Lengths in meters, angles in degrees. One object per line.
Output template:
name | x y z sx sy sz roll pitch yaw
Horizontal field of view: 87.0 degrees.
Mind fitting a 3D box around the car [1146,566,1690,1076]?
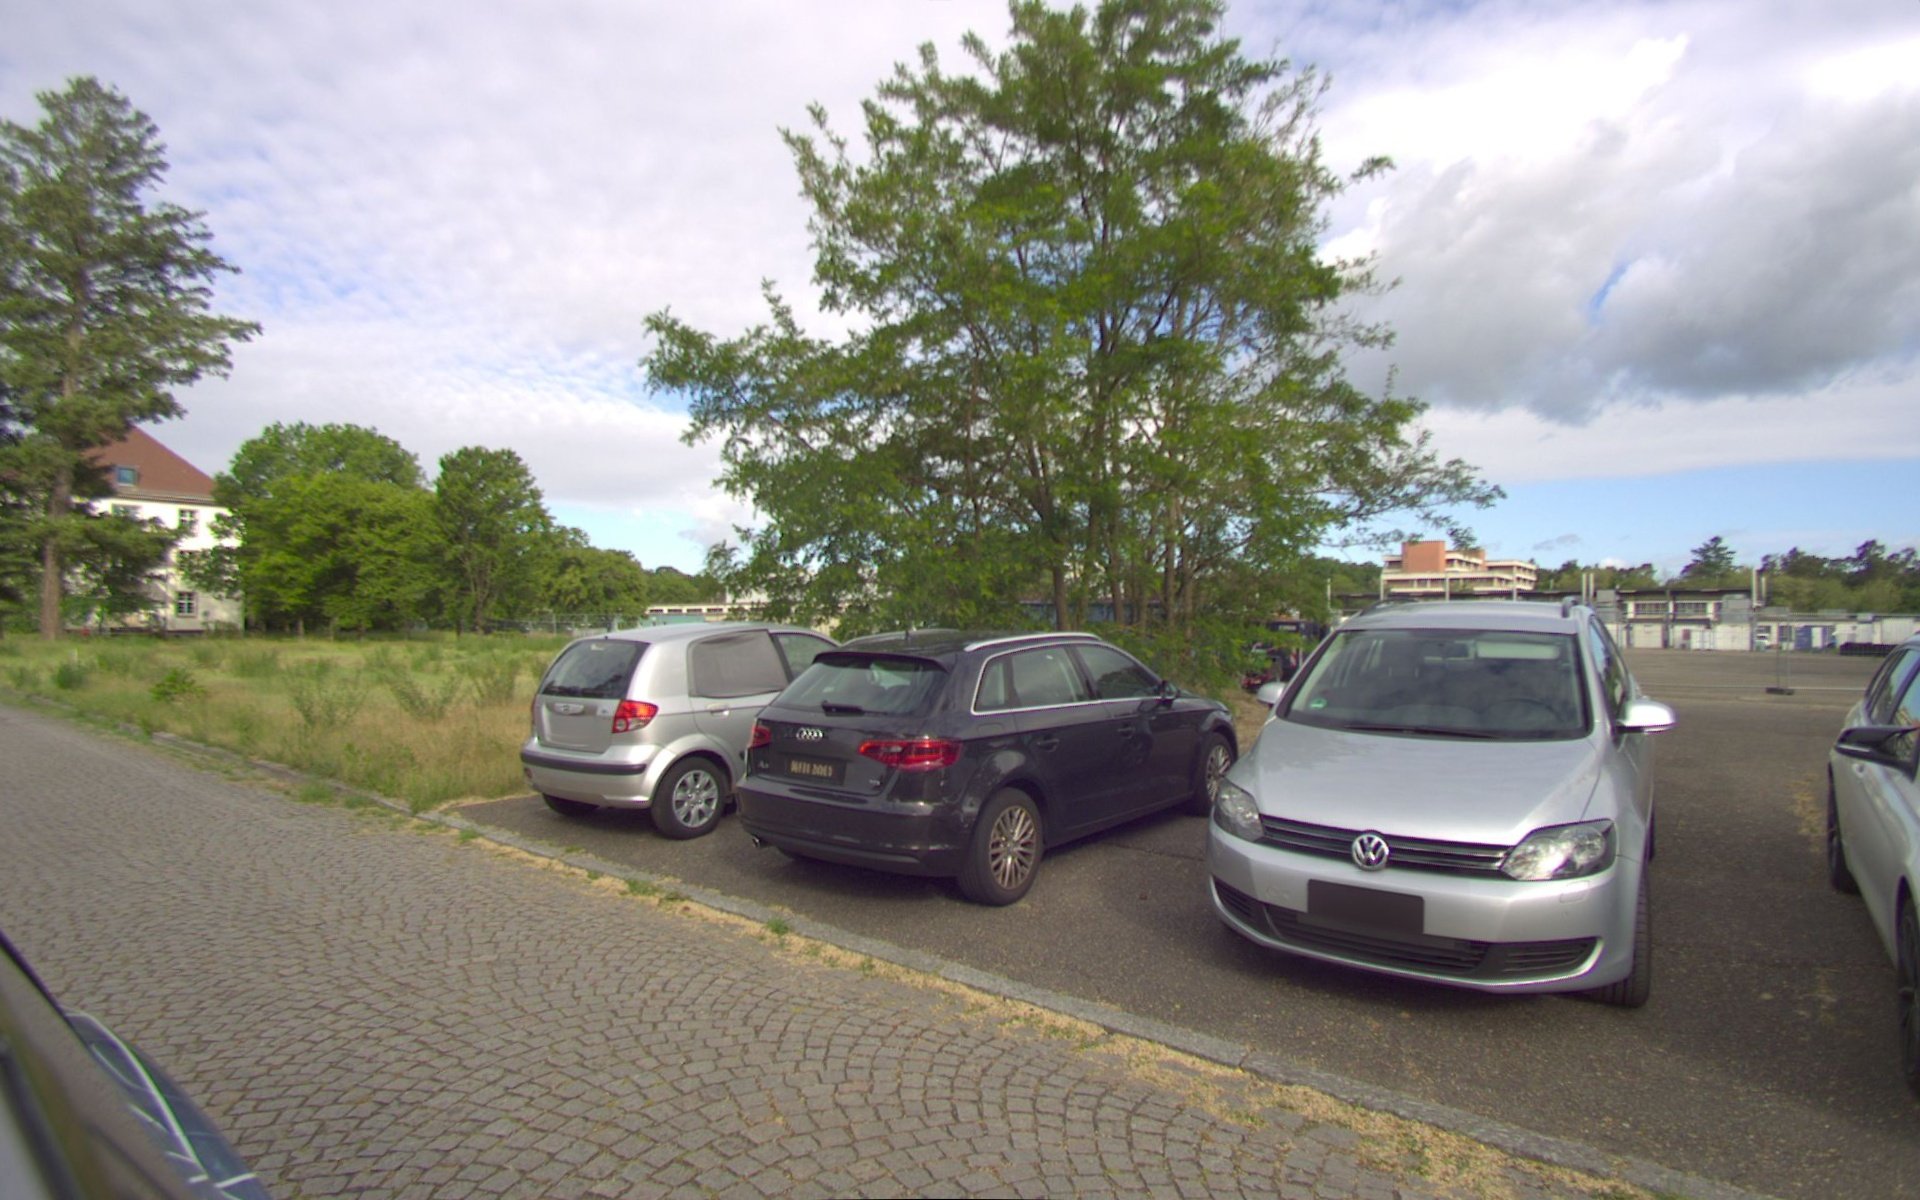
car | 2.835 0.705 5.534 1.844 1.602 4.433 -1 -1 36

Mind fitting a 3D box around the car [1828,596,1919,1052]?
car | 4.807 0.733 3.924 1.911 1.450 4.760 -1 0 38

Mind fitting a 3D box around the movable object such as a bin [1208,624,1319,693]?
movable object such as a bin | 5.825 1.072 19.306 1.169 1.221 2.505 -1 -2 40

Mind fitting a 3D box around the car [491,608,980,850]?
car | -1.636 0.851 8.579 1.677 1.467 3.939 -1 0 36

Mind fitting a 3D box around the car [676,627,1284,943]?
car | 0.515 0.926 7.020 1.882 1.433 4.576 -1 -2 37
